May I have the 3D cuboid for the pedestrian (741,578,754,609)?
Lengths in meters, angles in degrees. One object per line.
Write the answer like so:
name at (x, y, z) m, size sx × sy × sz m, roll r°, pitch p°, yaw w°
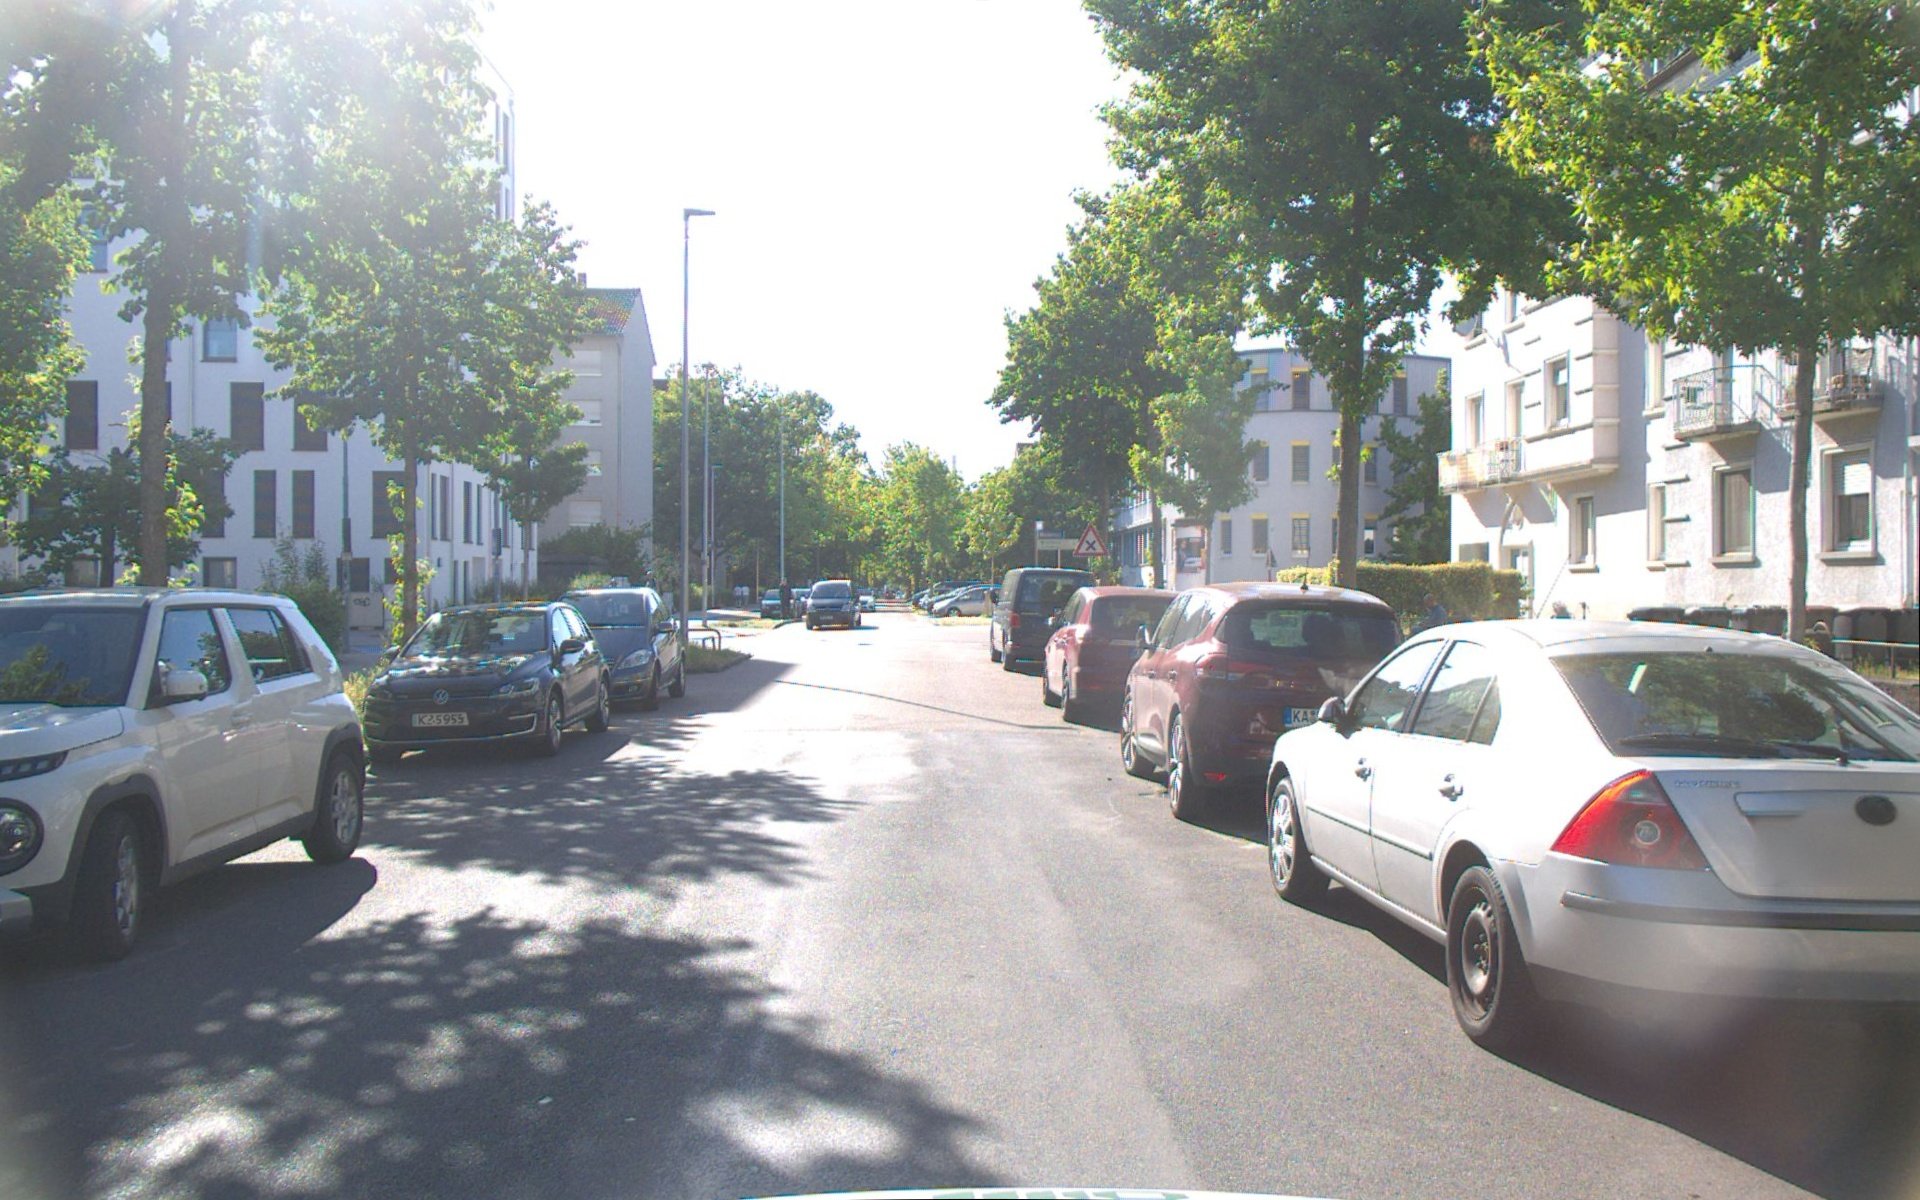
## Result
pedestrian at (-14.445, -0.451, 112.404) m, size 0.843 × 2.049 × 0.979 m, roll -1°, pitch 0°, yaw -9°

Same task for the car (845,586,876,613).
car at (-6.070, -0.038, 101.211) m, size 1.857 × 1.588 × 3.998 m, roll -1°, pitch 1°, yaw -3°

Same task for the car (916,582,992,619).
car at (-0.325, 0.021, 88.319) m, size 3.909 × 1.862 × 1.998 m, roll -1°, pitch 1°, yaw -5°

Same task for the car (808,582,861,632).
car at (-4.314, 0.217, 57.236) m, size 1.748 × 1.637 × 3.997 m, roll -1°, pitch 0°, yaw -3°

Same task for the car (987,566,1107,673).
car at (1.672, 0.342, 33.488) m, size 1.931 × 1.983 × 4.983 m, roll -1°, pitch 0°, yaw -3°

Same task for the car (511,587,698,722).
car at (-4.818, 0.671, 22.974) m, size 1.803 × 1.622 × 4.260 m, roll -2°, pitch 1°, yaw -3°

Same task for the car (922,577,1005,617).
car at (0.162, -0.161, 81.008) m, size 3.909 × 1.837 × 1.888 m, roll -1°, pitch 1°, yaw -5°

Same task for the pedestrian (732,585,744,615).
pedestrian at (-14.597, -0.027, 108.782) m, size 0.748 × 1.934 × 0.817 m, roll -1°, pitch 0°, yaw -9°

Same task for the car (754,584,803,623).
car at (-8.410, 0.137, 76.981) m, size 1.953 × 1.700 × 3.999 m, roll -1°, pitch 1°, yaw -2°

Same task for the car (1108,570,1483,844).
car at (2.391, 0.680, 12.972) m, size 1.869 × 1.728 × 4.311 m, roll 2°, pitch 1°, yaw -2°

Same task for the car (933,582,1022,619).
car at (0.786, -0.010, 75.813) m, size 3.910 × 1.615 × 1.725 m, roll -1°, pitch 1°, yaw -6°

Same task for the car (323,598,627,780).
car at (-4.754, 0.791, 16.903) m, size 1.954 × 1.478 × 4.260 m, roll -3°, pitch 1°, yaw -3°

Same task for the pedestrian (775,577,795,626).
pedestrian at (-7.070, 0.062, 66.906) m, size 0.702 × 1.933 × 0.834 m, roll -1°, pitch 0°, yaw -12°

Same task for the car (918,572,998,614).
car at (-0.105, -0.354, 83.826) m, size 3.909 × 2.049 × 1.998 m, roll -1°, pitch 1°, yaw -5°

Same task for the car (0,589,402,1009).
car at (-4.264, 0.776, 8.207) m, size 1.676 × 1.571 × 3.929 m, roll -3°, pitch 0°, yaw -2°

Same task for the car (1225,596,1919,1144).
car at (2.572, 0.770, 6.992) m, size 1.859 × 1.500 × 4.696 m, roll 2°, pitch 0°, yaw -3°

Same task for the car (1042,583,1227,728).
car at (2.129, 0.627, 21.275) m, size 1.797 × 1.628 × 4.157 m, roll 1°, pitch 1°, yaw -2°

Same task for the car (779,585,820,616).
car at (-8.930, 0.019, 92.255) m, size 1.953 × 1.612 × 3.999 m, roll -1°, pitch 1°, yaw -2°

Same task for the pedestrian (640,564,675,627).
pedestrian at (-9.980, -0.166, 54.592) m, size 0.841 × 2.049 × 0.982 m, roll -1°, pitch 0°, yaw 6°

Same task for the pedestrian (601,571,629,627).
pedestrian at (-12.883, -0.053, 61.765) m, size 0.842 × 2.049 × 0.980 m, roll -1°, pitch 0°, yaw -4°
